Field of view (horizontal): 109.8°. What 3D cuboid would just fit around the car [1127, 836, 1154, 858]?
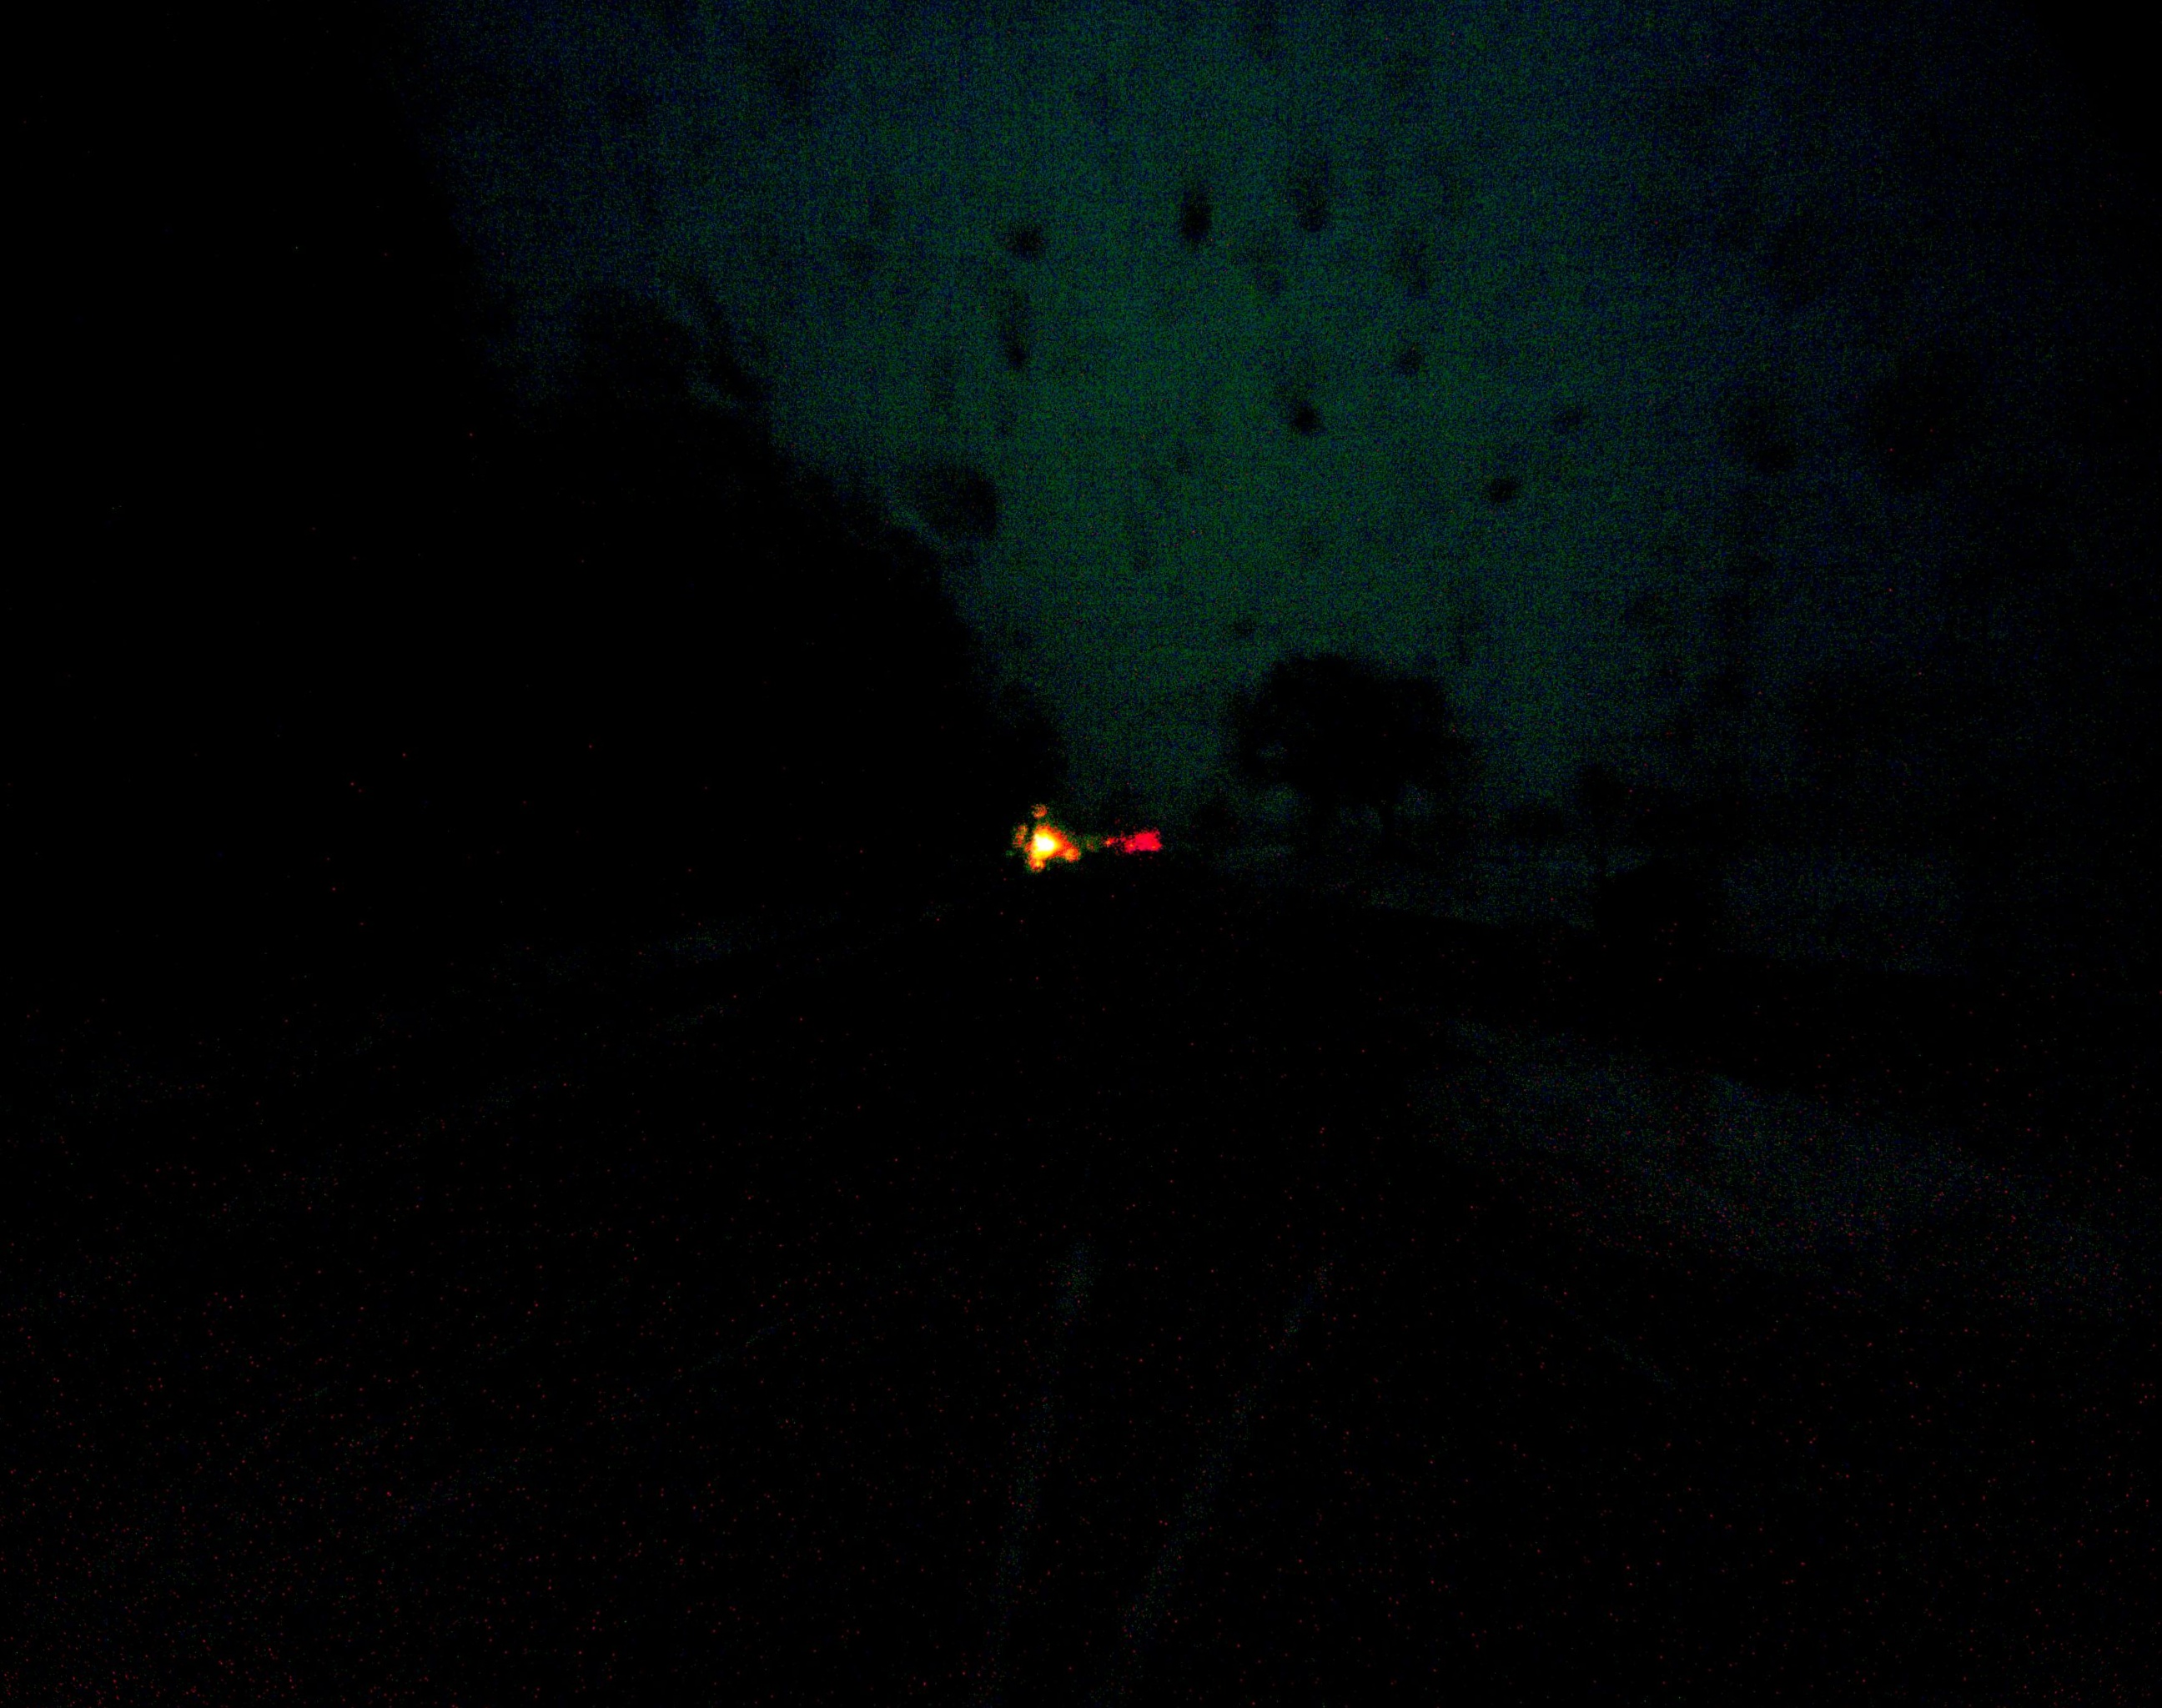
[{"bbox_3d":[5.130,-0.610,66.037,1.998,1.796,3.999,-2,1,1],"label":"car"}]

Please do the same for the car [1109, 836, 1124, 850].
[{"bbox_3d":[4.960,-1.520,106.563,1.998,1.796,3.999,-2,1,1],"label":"car"}]
